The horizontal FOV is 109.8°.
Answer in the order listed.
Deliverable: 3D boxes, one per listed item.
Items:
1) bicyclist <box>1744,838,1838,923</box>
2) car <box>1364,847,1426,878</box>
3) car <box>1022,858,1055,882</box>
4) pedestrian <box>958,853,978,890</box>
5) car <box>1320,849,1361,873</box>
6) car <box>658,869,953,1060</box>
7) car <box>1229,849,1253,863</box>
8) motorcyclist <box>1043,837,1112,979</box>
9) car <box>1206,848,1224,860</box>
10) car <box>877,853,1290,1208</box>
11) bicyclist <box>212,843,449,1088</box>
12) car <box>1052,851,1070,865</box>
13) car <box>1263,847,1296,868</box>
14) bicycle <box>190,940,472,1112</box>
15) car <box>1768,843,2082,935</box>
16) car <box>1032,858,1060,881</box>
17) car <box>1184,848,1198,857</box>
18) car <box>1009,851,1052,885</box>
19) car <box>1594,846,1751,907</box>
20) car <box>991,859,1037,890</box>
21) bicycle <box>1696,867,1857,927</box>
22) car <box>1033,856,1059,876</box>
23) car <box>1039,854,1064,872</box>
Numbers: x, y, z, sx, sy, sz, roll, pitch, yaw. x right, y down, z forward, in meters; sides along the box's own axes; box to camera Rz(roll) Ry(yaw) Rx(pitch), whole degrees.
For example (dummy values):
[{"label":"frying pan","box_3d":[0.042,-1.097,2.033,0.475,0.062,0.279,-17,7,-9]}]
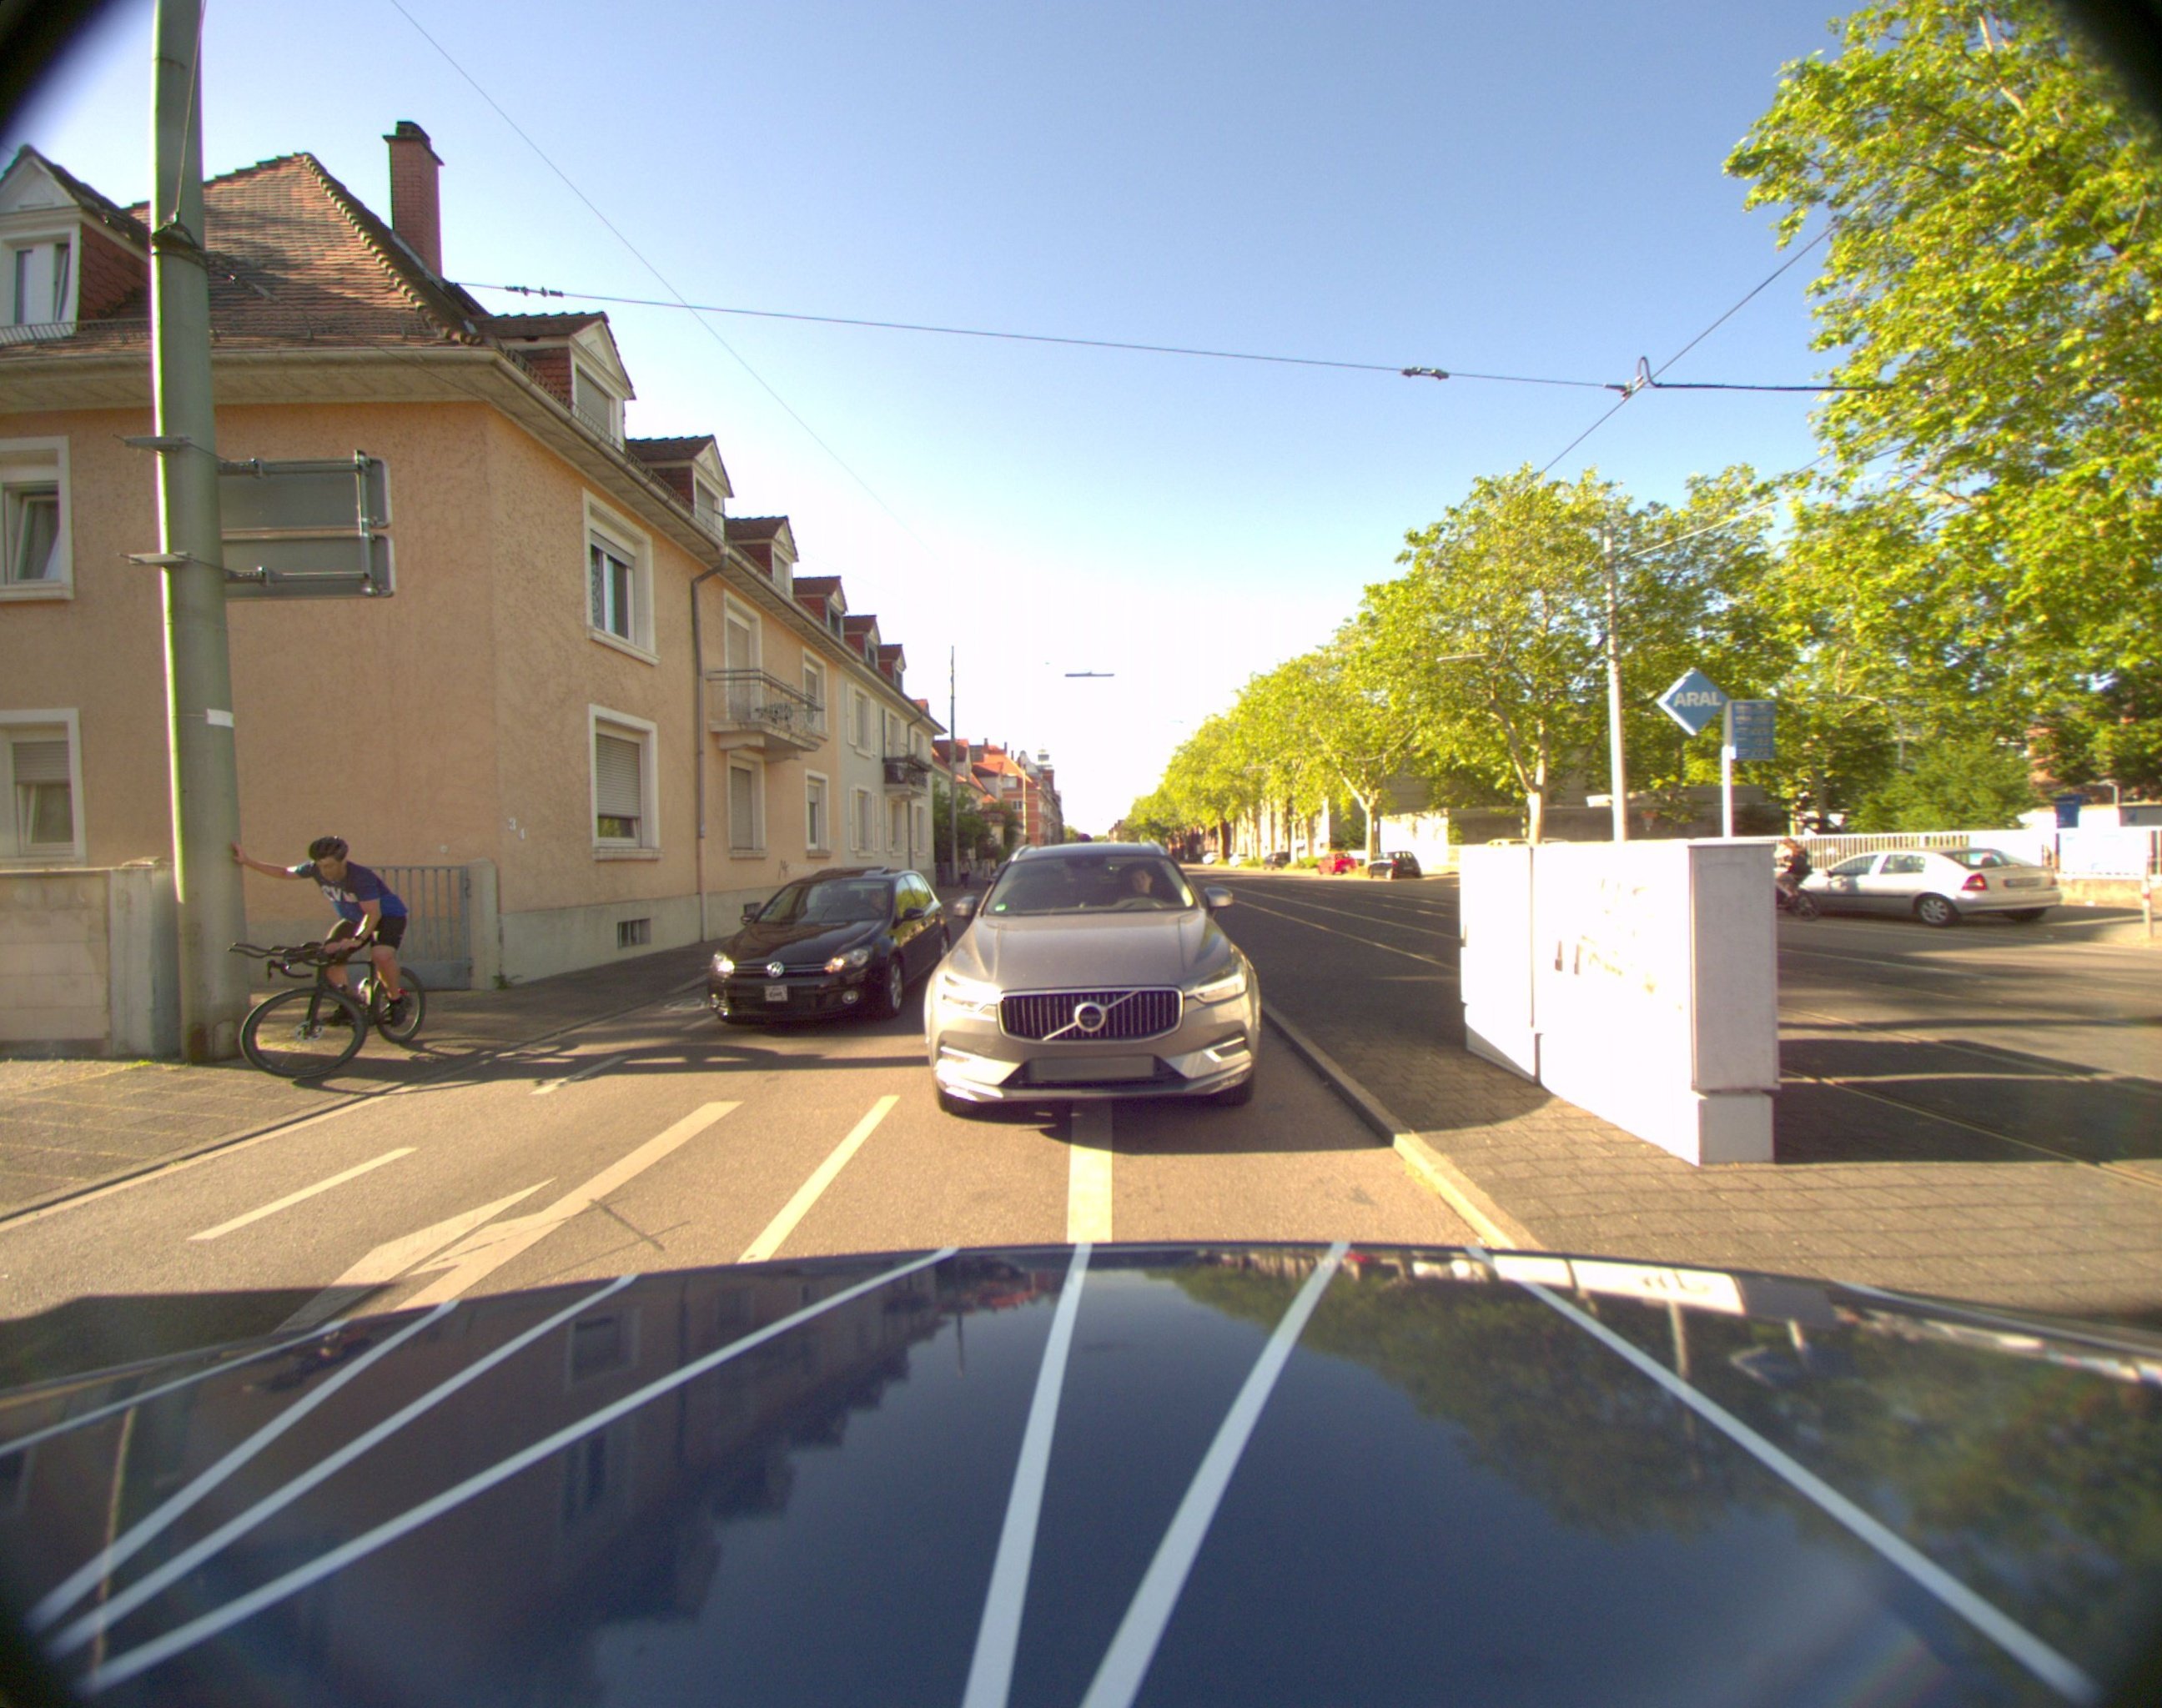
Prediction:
[{"label":"bicyclist","box_3d":[14.300,0.520,15.334,0.934,1.628,1.028,-1,1,0]},{"label":"car","box_3d":[16.880,0.422,40.982,1.826,1.521,3.653,-2,0,1]},{"label":"car","box_3d":[-2.686,0.991,48.304,1.785,1.346,4.000,-1,0,1]},{"label":"pedestrian","box_3d":[-5.276,0.801,35.501,0.694,1.652,1.098,-2,1,0]},{"label":"car","box_3d":[16.940,0.435,49.751,1.641,1.499,3.046,-1,0,1]},{"label":"car","box_3d":[-2.710,0.994,8.582,1.762,1.513,4.101,-1,0,1]},{"label":"car","box_3d":[17.541,0.222,83.428,1.802,1.489,4.000,-1,0,1]},{"label":"motorcyclist","box_3d":[-0.041,0.699,10.484,0.827,1.832,1.159,-2,1,1]},{"label":"car","box_3d":[17.727,-0.009,100.673,1.802,1.504,4.000,-1,0,1]},{"label":"car","box_3d":[0.041,0.850,5.802,1.940,1.650,4.321,-1,0,1]},{"label":"bicyclist","box_3d":[-6.147,0.861,6.291,1.076,1.854,0.846,2,1,1]},{"label":"car","box_3d":[-2.209,0.450,85.492,1.875,1.477,4.000,-1,0,1]},{"label":"car","box_3d":[17.191,0.287,66.043,1.802,1.652,4.000,-1,0,1]},{"label":"bicycle","box_3d":[-5.943,1.301,6.176,0.572,0.986,1.698,2,0,1]},{"label":"car","box_3d":[16.245,0.597,14.993,1.795,1.455,3.966,-4,0,2]},{"label":"car","box_3d":[-2.469,1.085,54.440,1.785,1.468,4.000,-1,0,1]},{"label":"car","box_3d":[18.189,-0.219,125.630,1.802,1.504,4.000,-1,0,1]},{"label":"car","box_3d":[-2.791,0.715,42.885,1.751,1.767,5.351,-1,0,3]},{"label":"car","box_3d":[16.430,0.575,21.341,1.692,1.455,3.519,-4,0,2]},{"label":"car","box_3d":[-3.212,0.964,37.026,1.647,1.357,3.868,-1,0,4]},{"label":"bicycle","box_3d":[14.294,0.838,15.768,1.059,1.095,2.519,0,0,1]},{"label":"car","box_3d":[-2.754,0.945,60.676,1.785,1.468,4.000,-1,0,1]},{"label":"car","box_3d":[-2.565,0.767,66.830,1.875,1.477,4.000,-1,0,1]}]
